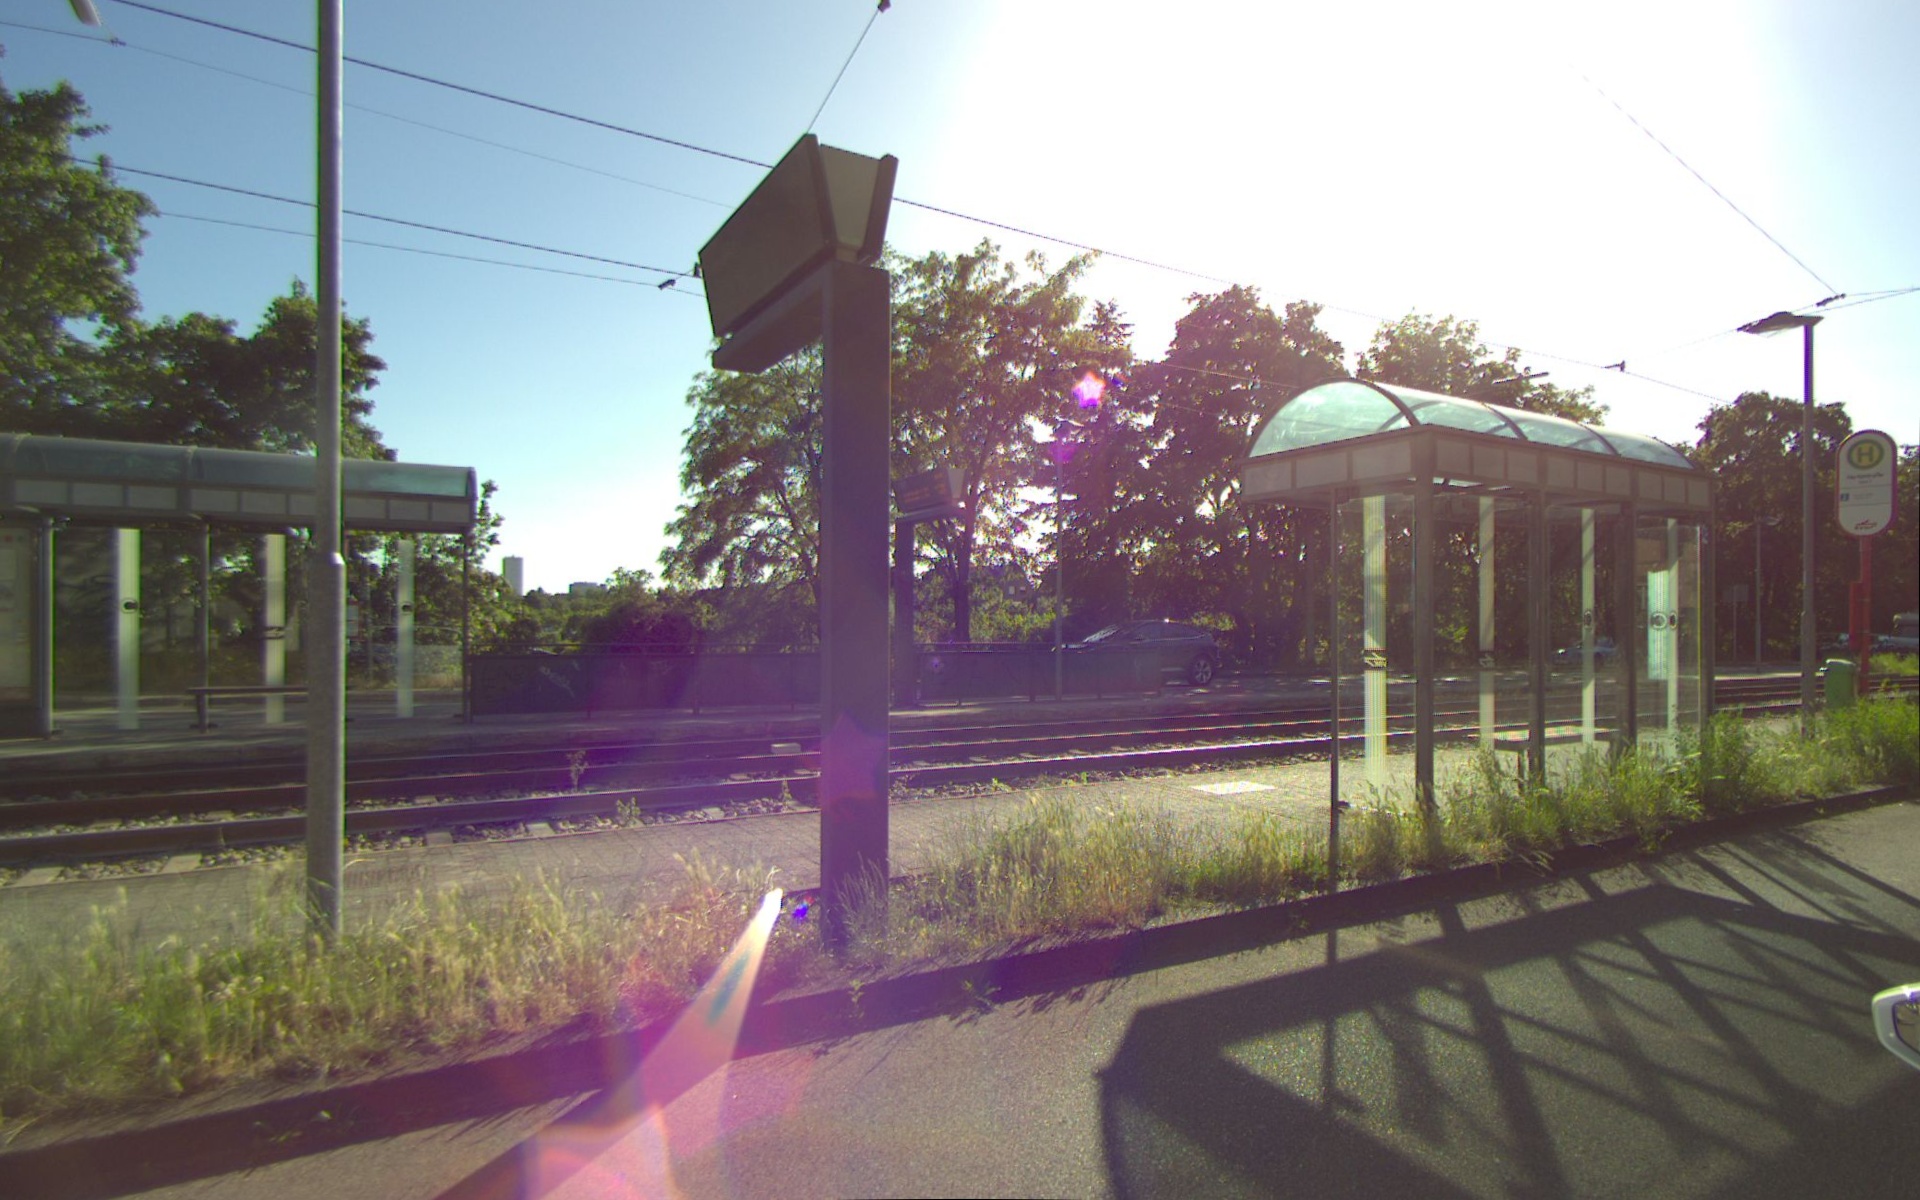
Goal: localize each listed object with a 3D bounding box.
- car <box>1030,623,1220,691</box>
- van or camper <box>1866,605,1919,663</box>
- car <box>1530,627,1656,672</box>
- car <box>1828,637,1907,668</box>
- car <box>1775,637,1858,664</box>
[{"bbox_3d":[4.002,1.326,24.180,4.328,1.489,1.983,1,-1,-32],"label":"car"},{"bbox_3d":[54.028,1.907,56.565,6.710,3.147,2.577,1,-2,-31],"label":"van or camper"},{"bbox_3d":[22.305,1.723,35.379,4.324,1.489,1.984,1,-1,-30],"label":"car"},{"bbox_3d":[47.991,2.734,53.096,3.951,1.582,1.913,1,-2,-29],"label":"car"},{"bbox_3d":[42.970,2.498,50.383,3.951,1.283,1.913,1,-2,-29],"label":"car"}]
